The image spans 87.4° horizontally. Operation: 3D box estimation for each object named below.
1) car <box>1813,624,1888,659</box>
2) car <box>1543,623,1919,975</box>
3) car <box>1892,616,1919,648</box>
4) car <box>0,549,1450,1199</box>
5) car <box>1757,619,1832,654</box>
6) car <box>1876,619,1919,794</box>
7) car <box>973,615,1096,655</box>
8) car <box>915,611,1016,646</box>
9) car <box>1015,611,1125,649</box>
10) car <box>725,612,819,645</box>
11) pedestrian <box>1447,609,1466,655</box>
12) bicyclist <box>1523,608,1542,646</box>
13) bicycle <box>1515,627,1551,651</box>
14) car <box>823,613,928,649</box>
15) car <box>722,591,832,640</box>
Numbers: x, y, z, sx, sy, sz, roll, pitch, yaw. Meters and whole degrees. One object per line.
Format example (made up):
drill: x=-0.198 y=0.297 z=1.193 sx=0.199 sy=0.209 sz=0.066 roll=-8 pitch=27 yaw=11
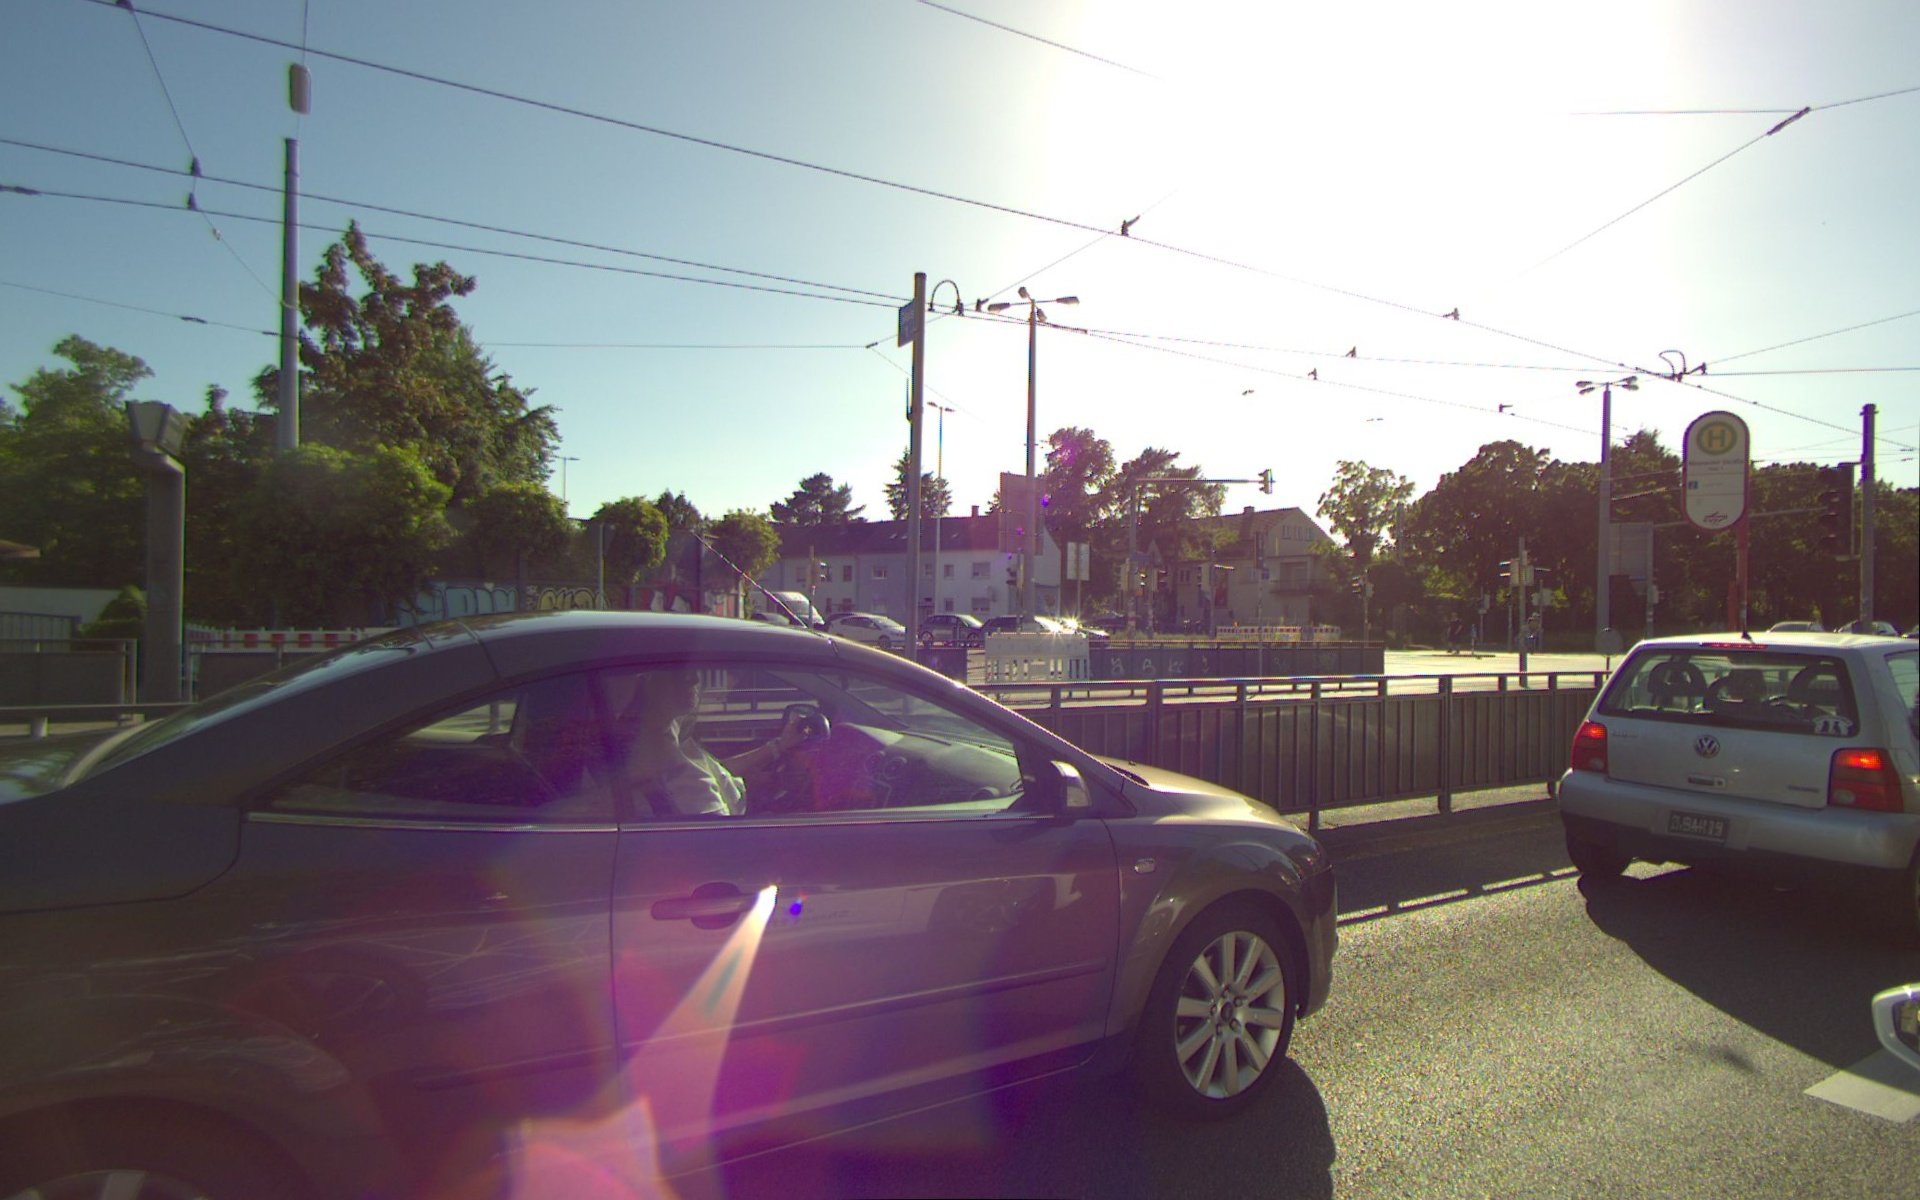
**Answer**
car: x=44.468 y=2.045 z=50.115 sx=4.646 sy=1.617 sz=1.801 roll=1 pitch=-1 yaw=-35
car: x=5.141 y=0.900 z=5.900 sx=3.376 sy=1.488 sz=1.573 roll=1 pitch=0 yaw=-32
car: x=52.754 y=1.749 z=55.091 sx=3.964 sy=1.710 sz=1.778 roll=1 pitch=-1 yaw=-37
car: x=-0.487 y=0.744 z=3.087 sx=4.150 sy=1.555 sz=1.740 roll=1 pitch=-1 yaw=-33
car: x=37.752 y=1.628 z=45.440 sx=3.665 sy=1.478 sz=1.673 roll=1 pitch=-1 yaw=-34
car: x=10.715 y=0.981 z=9.548 sx=4.371 sy=1.548 sz=1.867 roll=1 pitch=-1 yaw=-32
car: x=2.866 y=1.336 z=39.261 sx=4.556 sy=1.496 sz=1.668 roll=0 pitch=-1 yaw=32
car: x=0.236 y=1.271 z=45.584 sx=4.185 sy=1.486 sz=1.933 roll=0 pitch=0 yaw=32
car: x=4.619 y=1.223 z=42.275 sx=4.175 sy=1.486 sz=1.933 roll=0 pitch=-1 yaw=32
car: x=-8.959 y=1.355 z=47.755 sx=4.185 sy=1.486 sz=1.933 roll=0 pitch=-1 yaw=32
pedestrian: x=21.644 y=1.385 z=43.806 sx=0.599 sy=1.974 sz=0.776 roll=0 pitch=0 yaw=16
bicyclist: x=24.996 y=1.173 z=43.873 sx=0.641 sy=1.629 sz=0.487 roll=1 pitch=-1 yaw=-31
bicycle: x=25.028 y=1.692 z=43.887 sx=1.926 sy=1.056 sz=0.504 roll=1 pitch=-1 yaw=-31
car: x=-3.696 y=1.329 z=43.646 sx=4.290 sy=1.486 sz=1.933 roll=0 pitch=-1 yaw=32
car: x=-9.634 y=0.809 z=52.647 sx=5.823 sy=2.443 sz=2.174 roll=0 pitch=-1 yaw=35
